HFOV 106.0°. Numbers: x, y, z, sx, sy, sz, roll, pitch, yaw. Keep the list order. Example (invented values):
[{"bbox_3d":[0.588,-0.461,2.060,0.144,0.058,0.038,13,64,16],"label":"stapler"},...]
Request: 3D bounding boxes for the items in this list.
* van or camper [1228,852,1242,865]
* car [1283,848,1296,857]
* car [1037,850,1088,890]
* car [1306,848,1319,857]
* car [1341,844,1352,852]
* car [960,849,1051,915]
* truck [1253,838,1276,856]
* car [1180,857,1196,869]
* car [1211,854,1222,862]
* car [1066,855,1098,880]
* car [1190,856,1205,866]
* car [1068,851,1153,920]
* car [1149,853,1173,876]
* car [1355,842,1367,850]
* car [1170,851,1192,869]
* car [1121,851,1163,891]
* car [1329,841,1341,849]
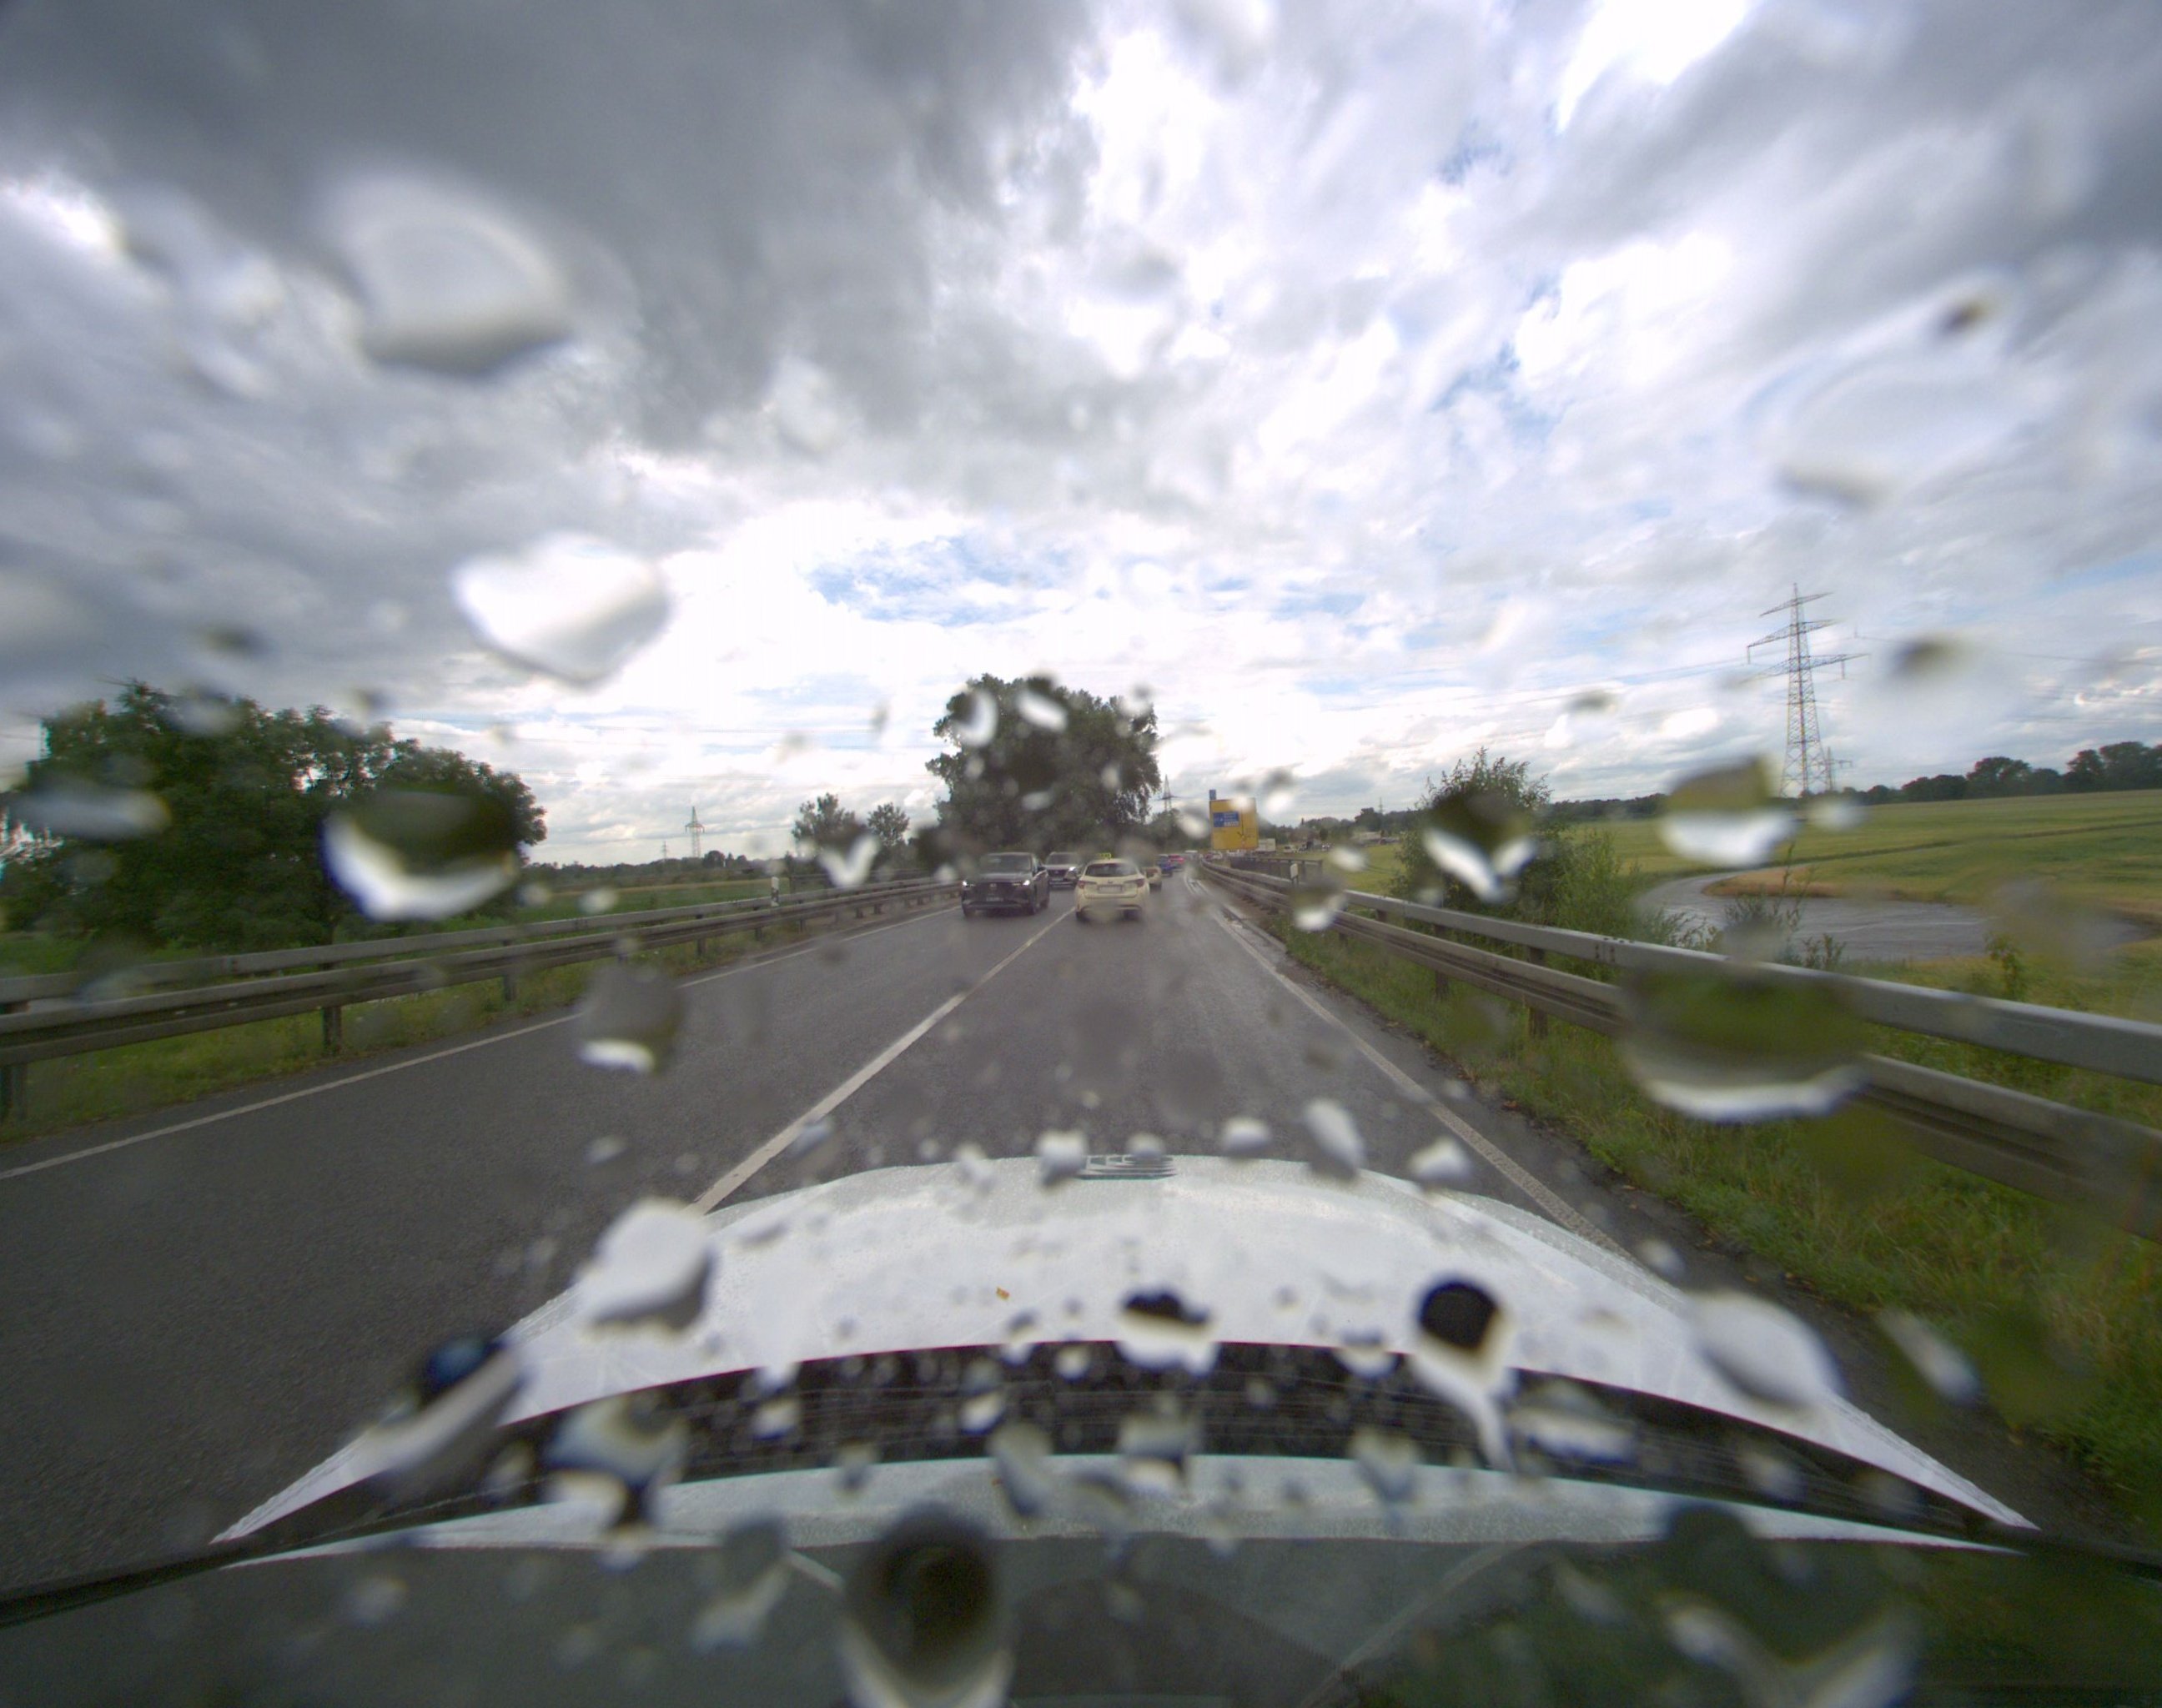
[{"bbox_3d":[26.846,0.761,141.886,1.977,2.254,4.018,-1,-1,18],"label":"van or camper"},{"bbox_3d":[48.035,-0.392,187.763,2.146,2.014,4.023,-1,-1,26],"label":"car"},{"bbox_3d":[-0.811,0.707,37.879,1.832,1.700,4.396,-1,0,5],"label":"car"},{"bbox_3d":[57.764,-0.356,203.100,1.974,2.014,4.025,-1,-1,32],"label":"car"},{"bbox_3d":[73.501,-1.660,225.128,1.974,2.014,4.025,-1,-1,31],"label":"car"},{"bbox_3d":[-2.006,0.700,22.910,1.738,1.654,4.530,-1,0,5],"label":"car"},{"bbox_3d":[38.113,-1.354,168.655,3.112,3.562,7.564,-1,-1,24],"label":"truck"},{"bbox_3d":[12.370,1.048,94.006,1.650,1.409,3.915,-1,-1,10],"label":"car"},{"bbox_3d":[20.862,0.608,125.649,1.473,1.309,3.488,-1,-1,12],"label":"car"},{"bbox_3d":[0.122,0.832,52.807,1.892,1.541,4.025,-1,0,2],"label":"car"},{"bbox_3d":[15.524,0.965,108.576,1.471,1.309,3.492,-1,-1,17],"label":"car"},{"bbox_3d":[0.816,0.728,20.502,1.897,1.537,4.166,-1,0,4],"label":"car"},{"bbox_3d":[5.390,0.700,54.916,1.498,1.437,3.360,-1,-1,5],"label":"car"},{"bbox_3d":[79.845,-2.264,232.490,1.974,2.014,4.025,-2,-1,40],"label":"car"},{"bbox_3d":[8.583,0.519,70.019,1.655,1.464,3.486,-1,-1,10],"label":"car"},{"bbox_3d":[2.596,0.681,34.111,1.570,1.572,3.688,-1,-1,7],"label":"car"},{"bbox_3d":[67.581,-2.292,216.793,2.204,2.014,4.025,-1,-1,31],"label":"car"}]
